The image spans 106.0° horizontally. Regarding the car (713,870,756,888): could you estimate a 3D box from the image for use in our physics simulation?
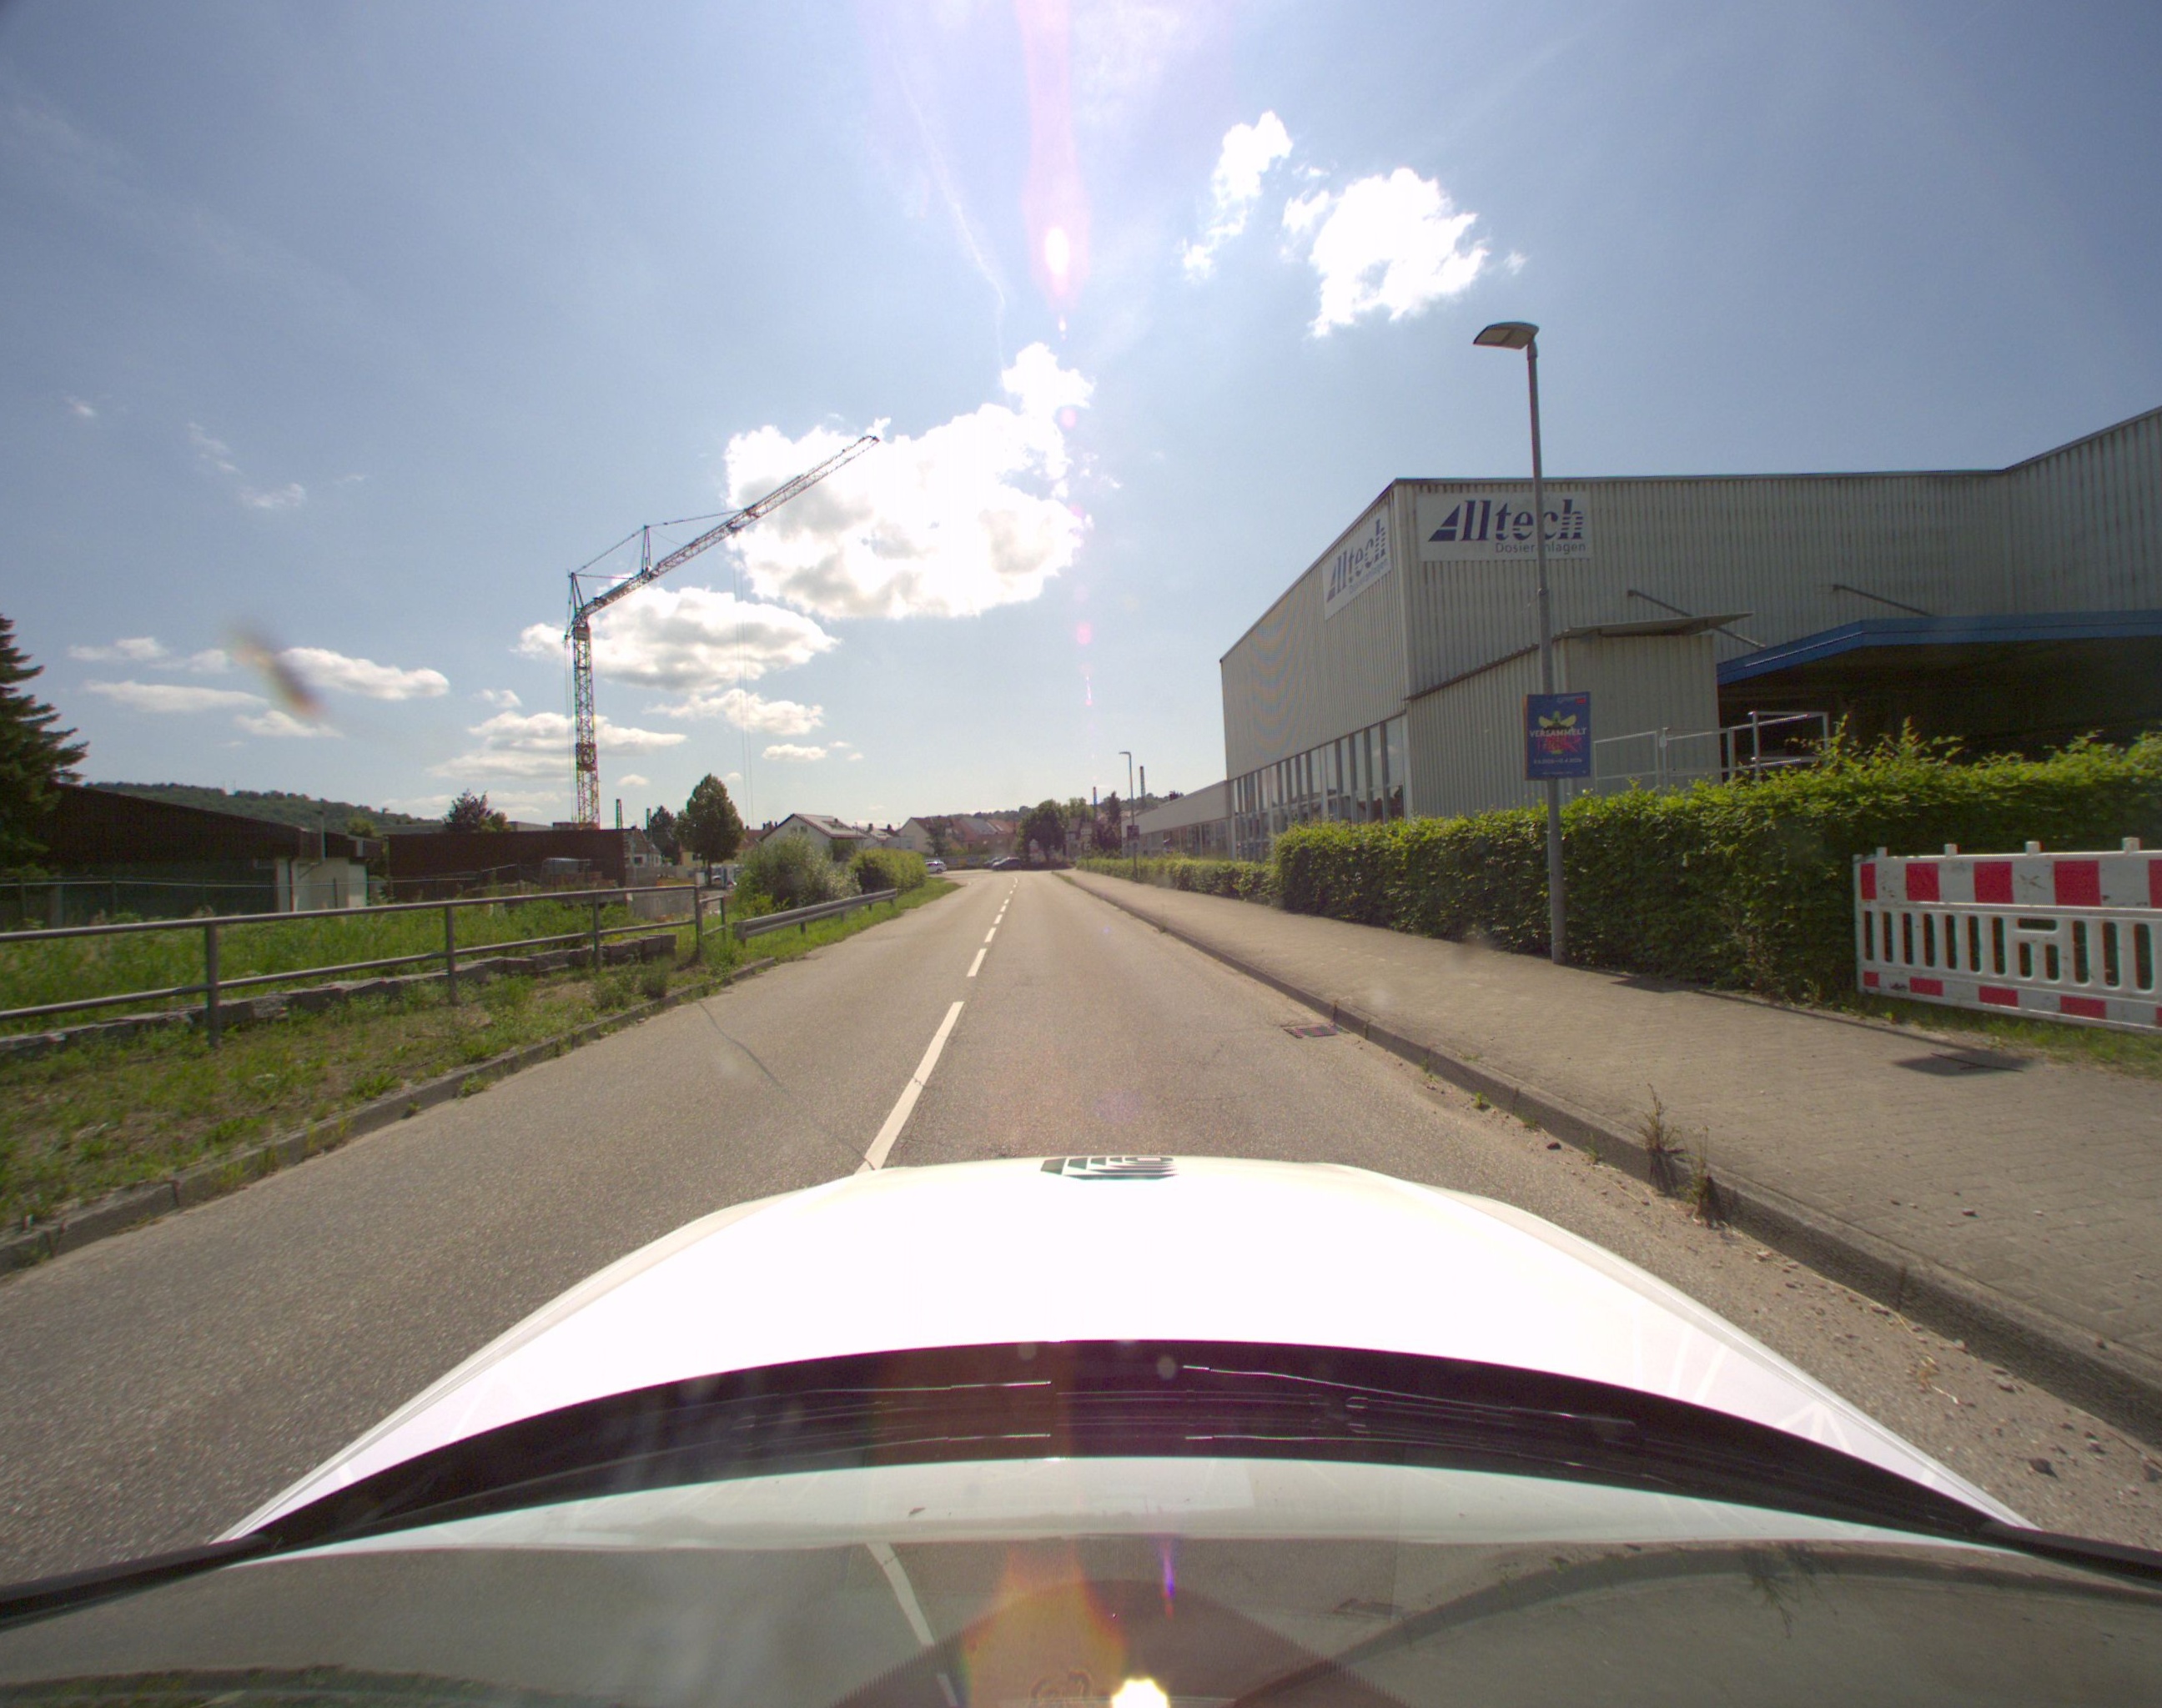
[{"bbox_3d":[-41.361,2.975,97.249,4.425,2.013,1.981,-2,0,-30],"label":"car"}]

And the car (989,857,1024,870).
[{"bbox_3d":[-9.557,1.195,104.204,4.192,1.463,1.657,-1,-1,-13],"label":"car"}]

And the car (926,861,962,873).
[{"bbox_3d":[-17.189,1.669,102.039,4.292,1.477,1.817,0,-1,-17],"label":"car"}]

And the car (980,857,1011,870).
[{"bbox_3d":[-11.762,1.268,111.671,3.993,1.730,1.761,0,-1,-14],"label":"car"}]
